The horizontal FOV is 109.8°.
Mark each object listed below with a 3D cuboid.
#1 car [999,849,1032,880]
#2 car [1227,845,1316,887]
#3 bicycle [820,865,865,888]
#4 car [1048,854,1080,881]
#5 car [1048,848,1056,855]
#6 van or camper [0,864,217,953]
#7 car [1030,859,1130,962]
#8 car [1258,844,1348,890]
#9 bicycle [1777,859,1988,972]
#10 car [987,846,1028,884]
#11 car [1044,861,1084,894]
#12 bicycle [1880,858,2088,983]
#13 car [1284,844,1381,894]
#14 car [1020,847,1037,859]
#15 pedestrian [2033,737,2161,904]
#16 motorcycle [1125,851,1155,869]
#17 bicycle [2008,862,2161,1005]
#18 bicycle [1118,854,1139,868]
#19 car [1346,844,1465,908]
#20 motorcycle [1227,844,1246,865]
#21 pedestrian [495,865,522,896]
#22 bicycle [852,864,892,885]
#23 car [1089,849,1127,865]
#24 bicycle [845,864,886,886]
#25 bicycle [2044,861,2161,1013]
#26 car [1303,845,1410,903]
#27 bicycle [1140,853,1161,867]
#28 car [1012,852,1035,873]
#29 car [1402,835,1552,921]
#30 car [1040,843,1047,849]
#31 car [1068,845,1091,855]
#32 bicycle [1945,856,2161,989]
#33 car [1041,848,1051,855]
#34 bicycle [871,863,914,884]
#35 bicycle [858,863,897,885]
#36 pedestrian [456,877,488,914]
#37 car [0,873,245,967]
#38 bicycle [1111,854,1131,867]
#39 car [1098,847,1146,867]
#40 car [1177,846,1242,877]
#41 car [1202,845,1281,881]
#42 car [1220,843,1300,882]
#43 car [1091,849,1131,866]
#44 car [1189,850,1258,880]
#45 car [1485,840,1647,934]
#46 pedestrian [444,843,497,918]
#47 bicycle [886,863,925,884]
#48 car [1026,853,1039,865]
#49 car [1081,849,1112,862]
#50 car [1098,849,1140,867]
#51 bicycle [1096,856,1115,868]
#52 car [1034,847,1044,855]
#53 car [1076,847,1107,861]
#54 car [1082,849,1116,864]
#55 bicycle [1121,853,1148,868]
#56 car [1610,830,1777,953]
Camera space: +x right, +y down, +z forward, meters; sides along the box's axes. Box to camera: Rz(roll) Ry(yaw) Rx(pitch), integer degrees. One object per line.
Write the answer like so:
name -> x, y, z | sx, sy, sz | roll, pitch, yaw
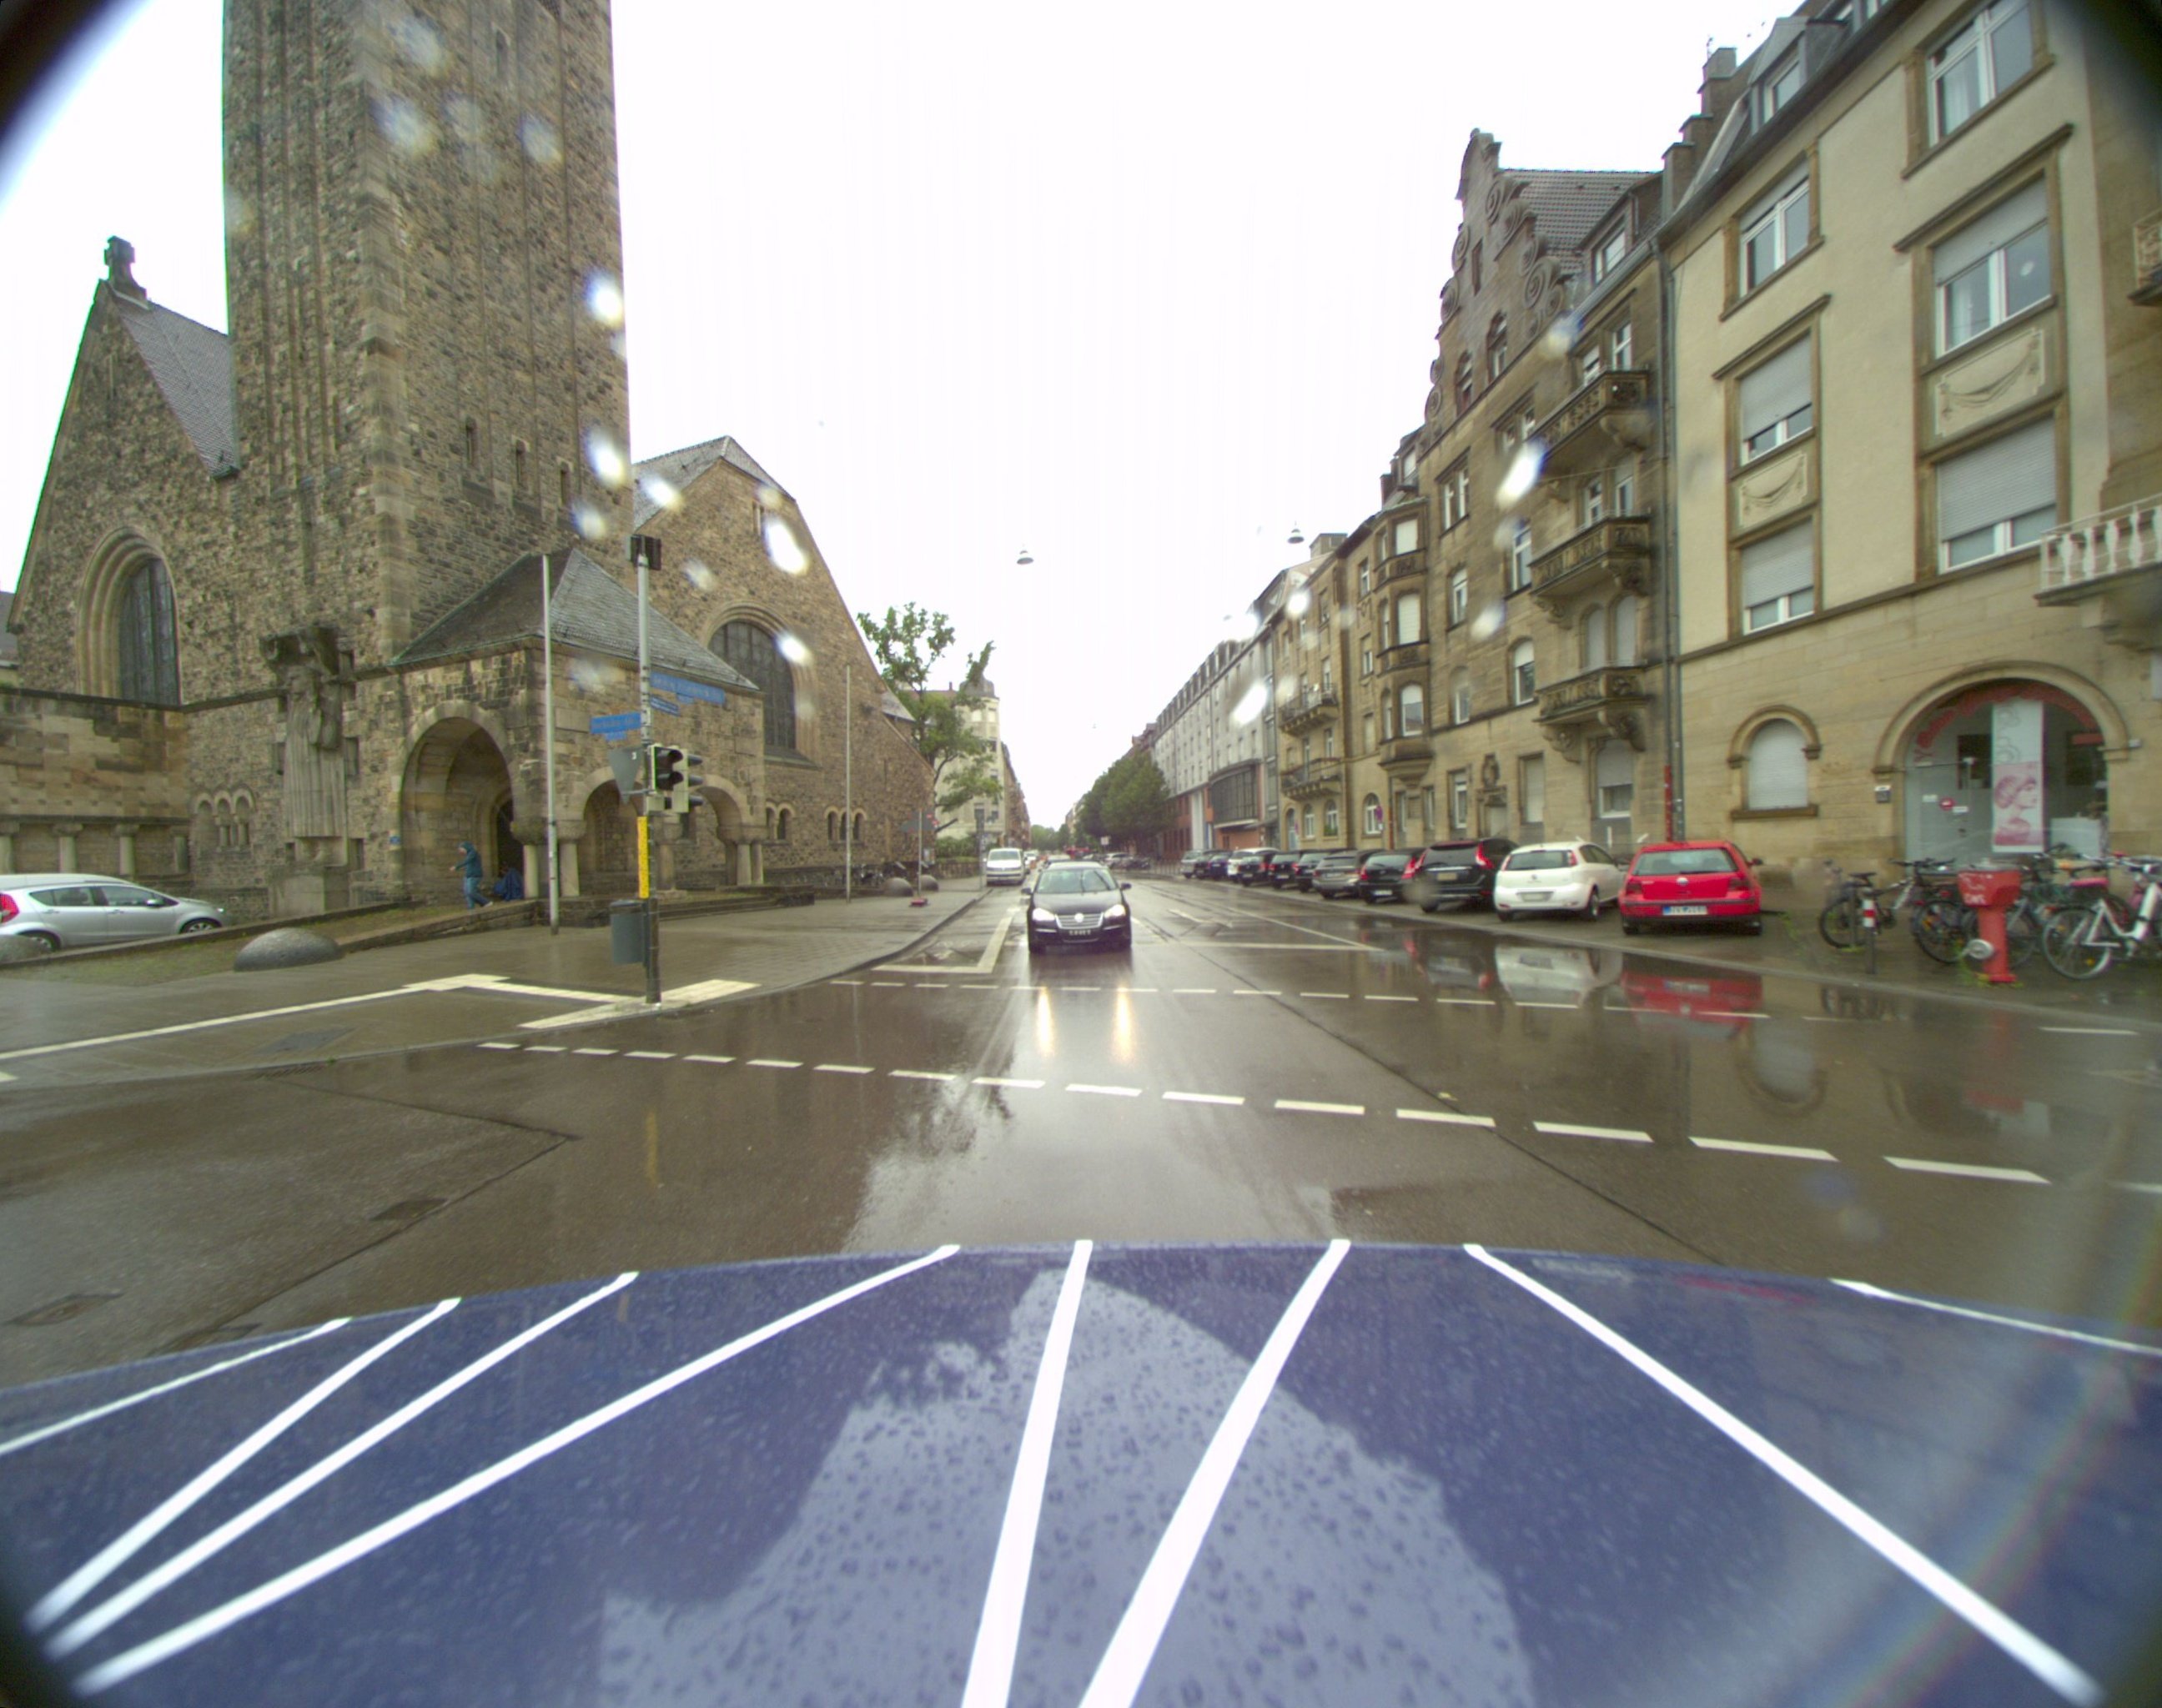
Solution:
car -> -4.103, 0.635, 47.994 | 1.837, 1.835, 4.294 | -1, 1, -2
car -> 8.373, 0.515, 33.365 | 3.733, 1.535, 1.774 | -4, 1, -37
bicycle -> -11.371, 1.069, 36.264 | 2.005, 1.043, 0.577 | -1, 1, 15
car -> -1.040, 0.742, 44.137 | 1.766, 1.430, 3.747 | -1, 1, -2
car -> -7.878, -0.631, 207.487 | 1.998, 1.705, 4.374 | -1, 1, 2
van or camper -> -24.676, 1.285, 18.763 | 1.645, 1.719, 3.933 | -1, 4, 21
car -> -0.095, 0.901, 14.082 | 1.548, 1.553, 4.069 | -1, 1, -2
car -> 8.916, 0.504, 30.370 | 3.765, 1.535, 1.624 | -4, 1, -42
bicycle -> 9.872, 0.741, 9.400 | 1.814, 1.178, 0.600 | -6, 1, 3
car -> -3.944, 0.569, 41.536 | 1.909, 1.911, 5.270 | -1, 1, -2
car -> -0.745, 0.944, 31.474 | 1.548, 1.214, 3.607 | -1, 1, -2
bicycle -> 10.070, 0.723, 8.492 | 1.815, 1.178, 0.475 | -6, 1, -4
car -> 9.125, 0.536, 27.524 | 3.449, 1.535, 1.624 | -4, 1, -38
car -> -6.428, -0.118, 93.481 | 1.922, 1.470, 4.219 | -1, 1, -2
pedestrian -> 14.841, -0.463, 11.123 | 0.846, 2.326, 0.765 | -1, 1, 20
motorcycle -> 4.794, 0.476, 62.002 | 2.256, 1.302, 0.758 | -3, 1, -2
bicycle -> 10.283, 0.735, 7.428 | 1.985, 1.178, 0.475 | -5, 1, -5
bicycle -> 3.990, 0.588, 63.897 | 1.688, 1.067, 0.544 | -4, 1, -5
car -> 9.119, 0.577, 21.256 | 3.316, 1.516, 1.697 | -4, 1, -41
motorcycle -> 11.556, 0.033, 56.461 | 0.777, 1.454, 2.362 | -1, 1, -2
pedestrian -> -16.905, 0.779, 22.448 | 0.396, 0.879, 0.457 | -1, 1, 20
bicycle -> -10.500, 1.024, 38.088 | 1.924, 1.054, 0.582 | -1, 1, 19
car -> 3.019, 0.329, 85.413 | 3.803, 1.705, 1.998 | -1, 1, -13
bicycle -> -10.620, 1.042, 37.421 | 1.924, 1.054, 0.582 | -1, 1, 17
bicycle -> 10.108, 0.729, 6.974 | 1.981, 1.322, 0.438 | -2, 1, 0
car -> 8.789, 0.607, 24.127 | 3.435, 1.535, 1.697 | -4, 1, -42
bicycle -> 5.843, 0.487, 63.976 | 1.688, 1.067, 0.544 | -4, 1, -5
car -> -4.623, 0.653, 61.398 | 1.675, 1.540, 3.917 | -1, 1, -2
car -> 9.496, 0.516, 18.072 | 4.092, 1.682, 1.759 | -4, 1, -42
car -> -10.631, -2.297, 215.672 | 1.838, 1.827, 4.000 | -1, 1, 2
car -> -0.246, -0.796, 140.743 | 3.809, 1.705, 1.995 | -1, 1, -36
bicycle -> 10.203, 0.697, 7.971 | 1.815, 1.178, 0.468 | -5, 1, -4
car -> -8.849, -0.557, 192.720 | 1.998, 1.705, 4.374 | -1, 1, 2
bicycle -> -9.786, 1.004, 39.411 | 2.151, 1.054, 0.679 | -1, 1, 19
bicycle -> -10.390, 1.026, 38.773 | 1.924, 1.054, 0.582 | -1, 1, 19
pedestrian -> -14.855, 1.009, 18.544 | 0.455, 0.879, 0.397 | -1, 1, 18
car -> -21.719, 1.394, 17.125 | 1.732, 1.566, 3.362 | -1, 4, 24
bicycle -> 3.577, 0.598, 67.644 | 1.688, 1.067, 0.544 | -2, 1, -5
car -> 3.901, 0.293, 72.063 | 4.006, 1.804, 1.995 | -1, 1, -29
car -> 7.673, 0.402, 45.131 | 3.931, 1.720, 1.811 | -2, 1, -44
car -> 8.343, 0.419, 39.442 | 3.732, 1.519, 1.897 | -5, 3, -33
car -> 8.656, 0.401, 36.640 | 3.734, 1.617, 1.774 | -4, 1, -40
car -> 3.147, 0.376, 79.827 | 3.803, 1.705, 1.998 | -1, 1, -13
car -> 7.904, 0.565, 42.060 | 3.734, 1.518, 1.713 | -1, 1, -38
car -> 9.951, 0.595, 15.463 | 4.001, 1.524, 1.700 | -4, 0, -42
pedestrian -> -14.215, 0.607, 17.706 | 0.633, 1.693, 0.679 | -1, 1, 18
bicycle -> -9.304, 1.019, 40.207 | 1.978, 1.060, 0.607 | -1, 1, 20
car -> -5.487, 0.601, 86.539 | 1.356, 1.285, 3.012 | -1, 1, -2
car -> 2.107, 0.140, 104.636 | 3.803, 1.705, 1.904 | -1, 1, -13
car -> 3.810, 0.359, 76.780 | 3.803, 1.705, 1.998 | -1, 1, -13
bicycle -> 2.206, 0.707, 68.528 | 1.688, 1.067, 0.544 | 1, 1, -6
car -> -9.493, -0.771, 171.220 | 1.998, 1.705, 3.802 | -1, 1, 2
car -> 1.566, -0.004, 113.051 | 4.006, 2.002, 1.995 | -1, 1, -31
car -> 2.170, 0.303, 92.685 | 3.803, 1.705, 1.998 | -1, 1, -13
bicycle -> 4.438, 0.534, 62.956 | 2.049, 1.165, 0.773 | -4, 1, -5
car -> 10.117, 0.546, 12.619 | 1.799, 1.499, 4.006 | -5, 1, 39
